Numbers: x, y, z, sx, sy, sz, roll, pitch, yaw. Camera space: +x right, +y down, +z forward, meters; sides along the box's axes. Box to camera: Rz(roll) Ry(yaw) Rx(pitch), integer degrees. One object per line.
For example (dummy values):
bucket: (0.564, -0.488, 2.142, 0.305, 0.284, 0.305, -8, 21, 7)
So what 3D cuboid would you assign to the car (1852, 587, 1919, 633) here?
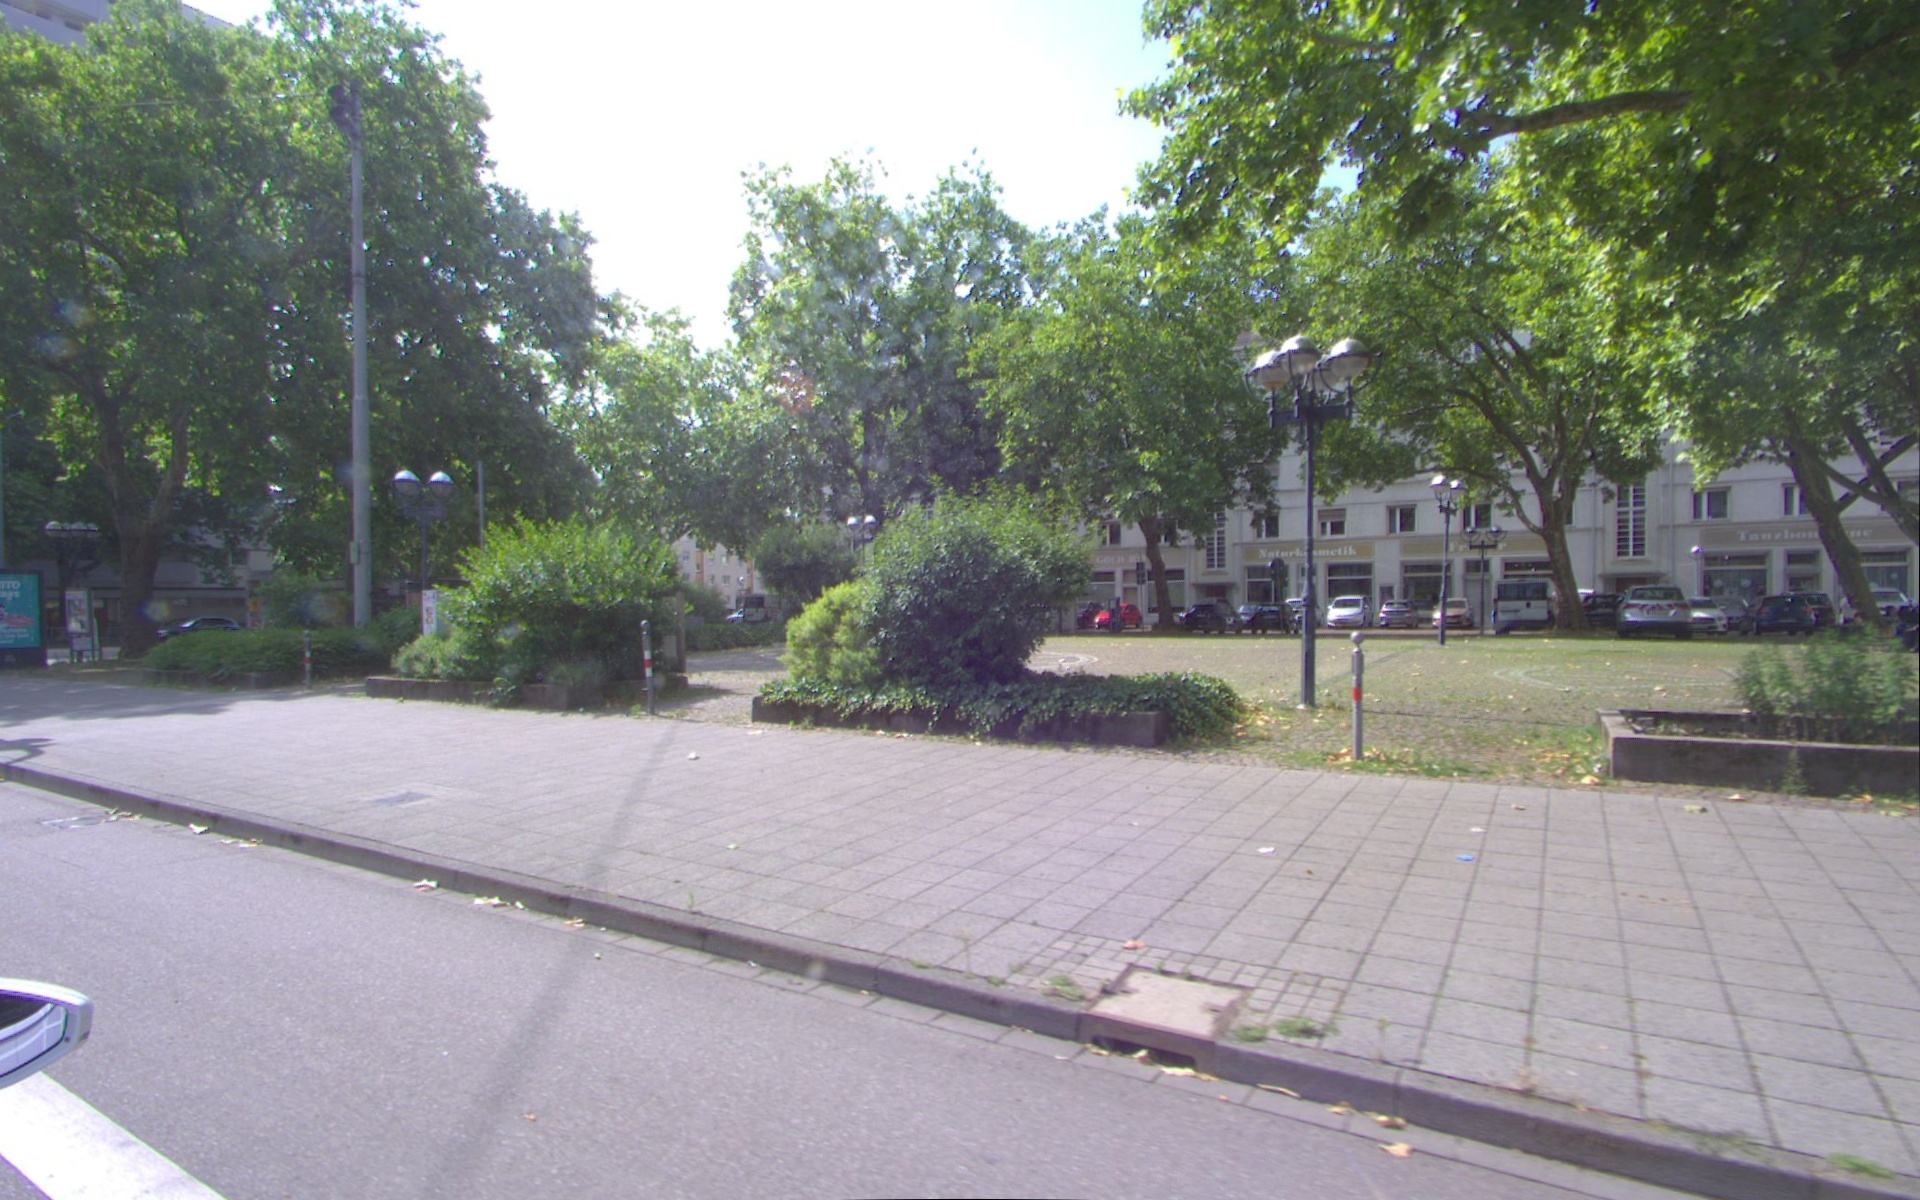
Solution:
car: (38.896, 0.394, 41.589, 2.161, 1.828, 4.730, 0, 0, 34)

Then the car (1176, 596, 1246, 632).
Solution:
car: (11.727, 0.624, 46.578, 1.958, 1.541, 4.245, 0, 0, 32)

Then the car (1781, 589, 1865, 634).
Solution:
car: (36.939, 0.446, 42.987, 2.161, 1.828, 4.668, 0, 0, 34)

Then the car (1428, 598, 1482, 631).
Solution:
car: (25.166, 0.692, 50.873, 2.008, 1.570, 4.671, 0, 0, 32)

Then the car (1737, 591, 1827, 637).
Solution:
car: (29.402, 0.472, 35.936, 1.971, 1.544, 4.143, 0, 0, 32)

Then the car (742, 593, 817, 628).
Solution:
car: (-10.843, 0.595, 60.430, 2.048, 2.040, 4.403, 0, 0, 33)

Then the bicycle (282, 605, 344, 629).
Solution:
bicycle: (-29.752, 0.760, 46.075, 0.882, 1.062, 2.301, 0, 0, 24)

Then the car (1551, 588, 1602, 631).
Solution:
car: (29.658, 0.416, 48.182, 2.008, 1.955, 4.671, 0, 0, 32)

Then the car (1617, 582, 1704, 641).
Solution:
car: (21.342, 0.329, 30.653, 1.971, 1.658, 4.143, 0, 0, 32)

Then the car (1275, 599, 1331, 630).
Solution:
car: (18.722, 0.767, 54.575, 1.958, 1.570, 4.415, 0, 0, 32)

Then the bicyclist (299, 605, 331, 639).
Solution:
bicyclist: (-29.725, 1.009, 46.158, 0.768, 1.532, 0.997, 0, 1, 24)

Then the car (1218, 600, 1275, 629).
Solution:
car: (16.088, 0.805, 56.051, 1.958, 1.541, 4.245, 0, 0, 32)

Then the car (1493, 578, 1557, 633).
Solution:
car: (22.364, 0.216, 39.564, 2.047, 2.040, 4.245, 0, 0, 32)

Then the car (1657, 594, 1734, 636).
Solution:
car: (26.627, 0.515, 36.375, 1.931, 1.440, 4.156, 0, 0, 32)

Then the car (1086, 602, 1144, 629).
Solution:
car: (9.387, 0.895, 60.486, 1.958, 1.541, 4.245, 0, 0, 32)

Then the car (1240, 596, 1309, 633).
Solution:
car: (14.209, 0.613, 45.074, 1.958, 1.541, 4.245, 0, 0, 32)

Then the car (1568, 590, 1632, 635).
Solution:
car: (24.387, 0.434, 38.215, 1.971, 1.615, 4.245, 0, 0, 32)

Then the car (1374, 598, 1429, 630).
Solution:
car: (23.040, 0.713, 52.185, 1.958, 1.570, 4.671, 0, 0, 32)

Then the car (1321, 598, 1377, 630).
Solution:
car: (20.688, 0.724, 53.146, 1.958, 1.570, 4.671, 0, 0, 32)

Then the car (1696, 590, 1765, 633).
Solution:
car: (34.587, 0.479, 45.056, 2.161, 1.828, 4.730, 0, 0, 34)
